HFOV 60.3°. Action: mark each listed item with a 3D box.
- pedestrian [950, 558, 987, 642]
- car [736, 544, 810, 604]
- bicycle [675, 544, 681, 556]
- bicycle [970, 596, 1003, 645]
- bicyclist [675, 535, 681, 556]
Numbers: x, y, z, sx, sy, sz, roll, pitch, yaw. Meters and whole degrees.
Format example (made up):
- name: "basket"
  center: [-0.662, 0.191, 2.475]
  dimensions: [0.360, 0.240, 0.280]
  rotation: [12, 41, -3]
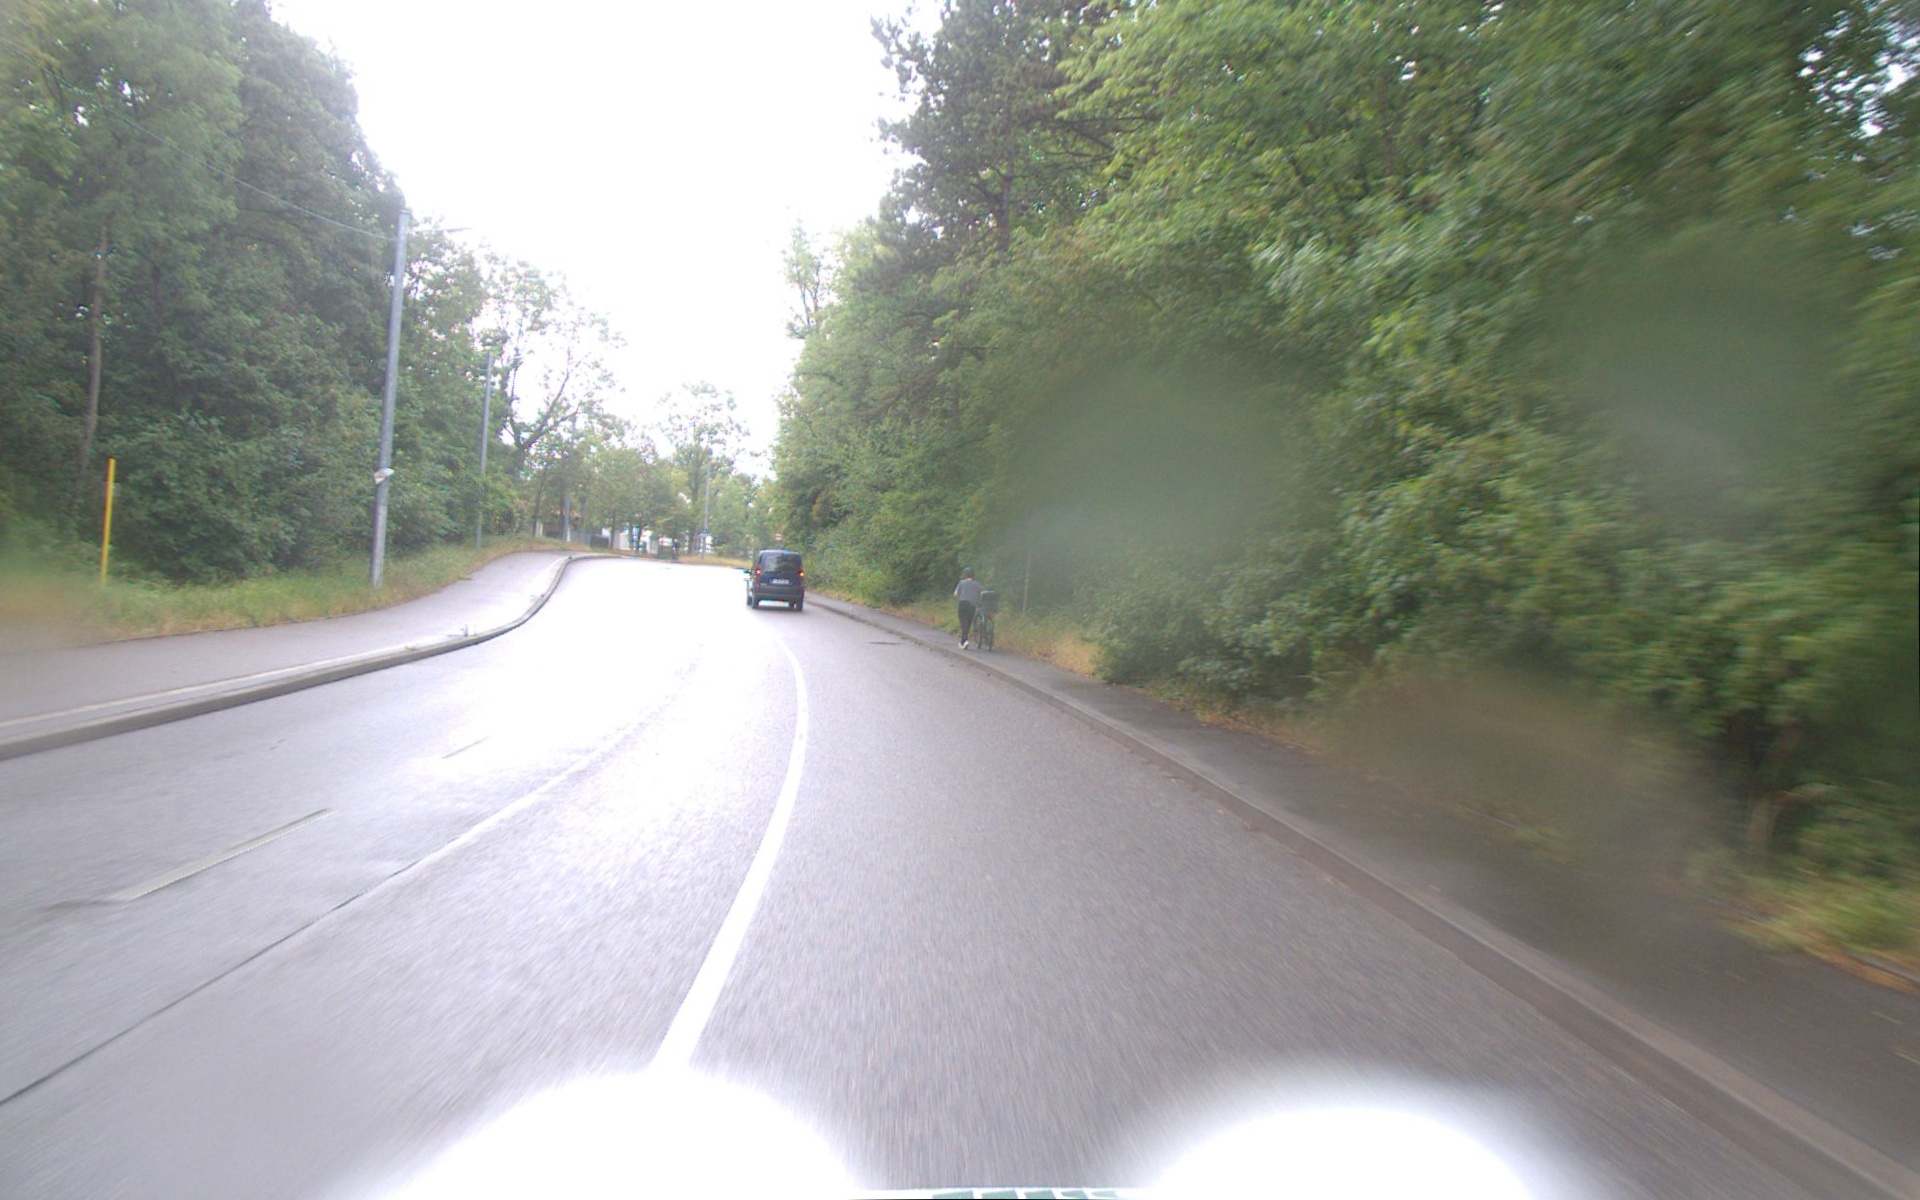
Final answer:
- name: "pedestrian"
  center: [0.166, 0.011, 32.670]
  dimensions: [0.553, 1.604, 0.768]
  rotation: [2, -2, -9]
- name: "car"
  center: [-6.075, -0.798, 53.314]
  dimensions: [1.797, 1.825, 3.984]
  rotation: [1, 0, -15]
- name: "bicycle"
  center: [-22.052, -3.897, 129.415]
  dimensions: [0.349, 0.863, 2.089]
  rotation: [2, 2, -9]
- name: "bicycle"
  center: [0.520, 0.396, 32.834]
  dimensions: [0.349, 0.863, 1.740]
  rotation: [-1, 3, -9]
- name: "bicyclist"
  center: [-22.045, -4.258, 129.425]
  dimensions: [0.330, 1.601, 1.296]
  rotation: [3, 2, -9]
